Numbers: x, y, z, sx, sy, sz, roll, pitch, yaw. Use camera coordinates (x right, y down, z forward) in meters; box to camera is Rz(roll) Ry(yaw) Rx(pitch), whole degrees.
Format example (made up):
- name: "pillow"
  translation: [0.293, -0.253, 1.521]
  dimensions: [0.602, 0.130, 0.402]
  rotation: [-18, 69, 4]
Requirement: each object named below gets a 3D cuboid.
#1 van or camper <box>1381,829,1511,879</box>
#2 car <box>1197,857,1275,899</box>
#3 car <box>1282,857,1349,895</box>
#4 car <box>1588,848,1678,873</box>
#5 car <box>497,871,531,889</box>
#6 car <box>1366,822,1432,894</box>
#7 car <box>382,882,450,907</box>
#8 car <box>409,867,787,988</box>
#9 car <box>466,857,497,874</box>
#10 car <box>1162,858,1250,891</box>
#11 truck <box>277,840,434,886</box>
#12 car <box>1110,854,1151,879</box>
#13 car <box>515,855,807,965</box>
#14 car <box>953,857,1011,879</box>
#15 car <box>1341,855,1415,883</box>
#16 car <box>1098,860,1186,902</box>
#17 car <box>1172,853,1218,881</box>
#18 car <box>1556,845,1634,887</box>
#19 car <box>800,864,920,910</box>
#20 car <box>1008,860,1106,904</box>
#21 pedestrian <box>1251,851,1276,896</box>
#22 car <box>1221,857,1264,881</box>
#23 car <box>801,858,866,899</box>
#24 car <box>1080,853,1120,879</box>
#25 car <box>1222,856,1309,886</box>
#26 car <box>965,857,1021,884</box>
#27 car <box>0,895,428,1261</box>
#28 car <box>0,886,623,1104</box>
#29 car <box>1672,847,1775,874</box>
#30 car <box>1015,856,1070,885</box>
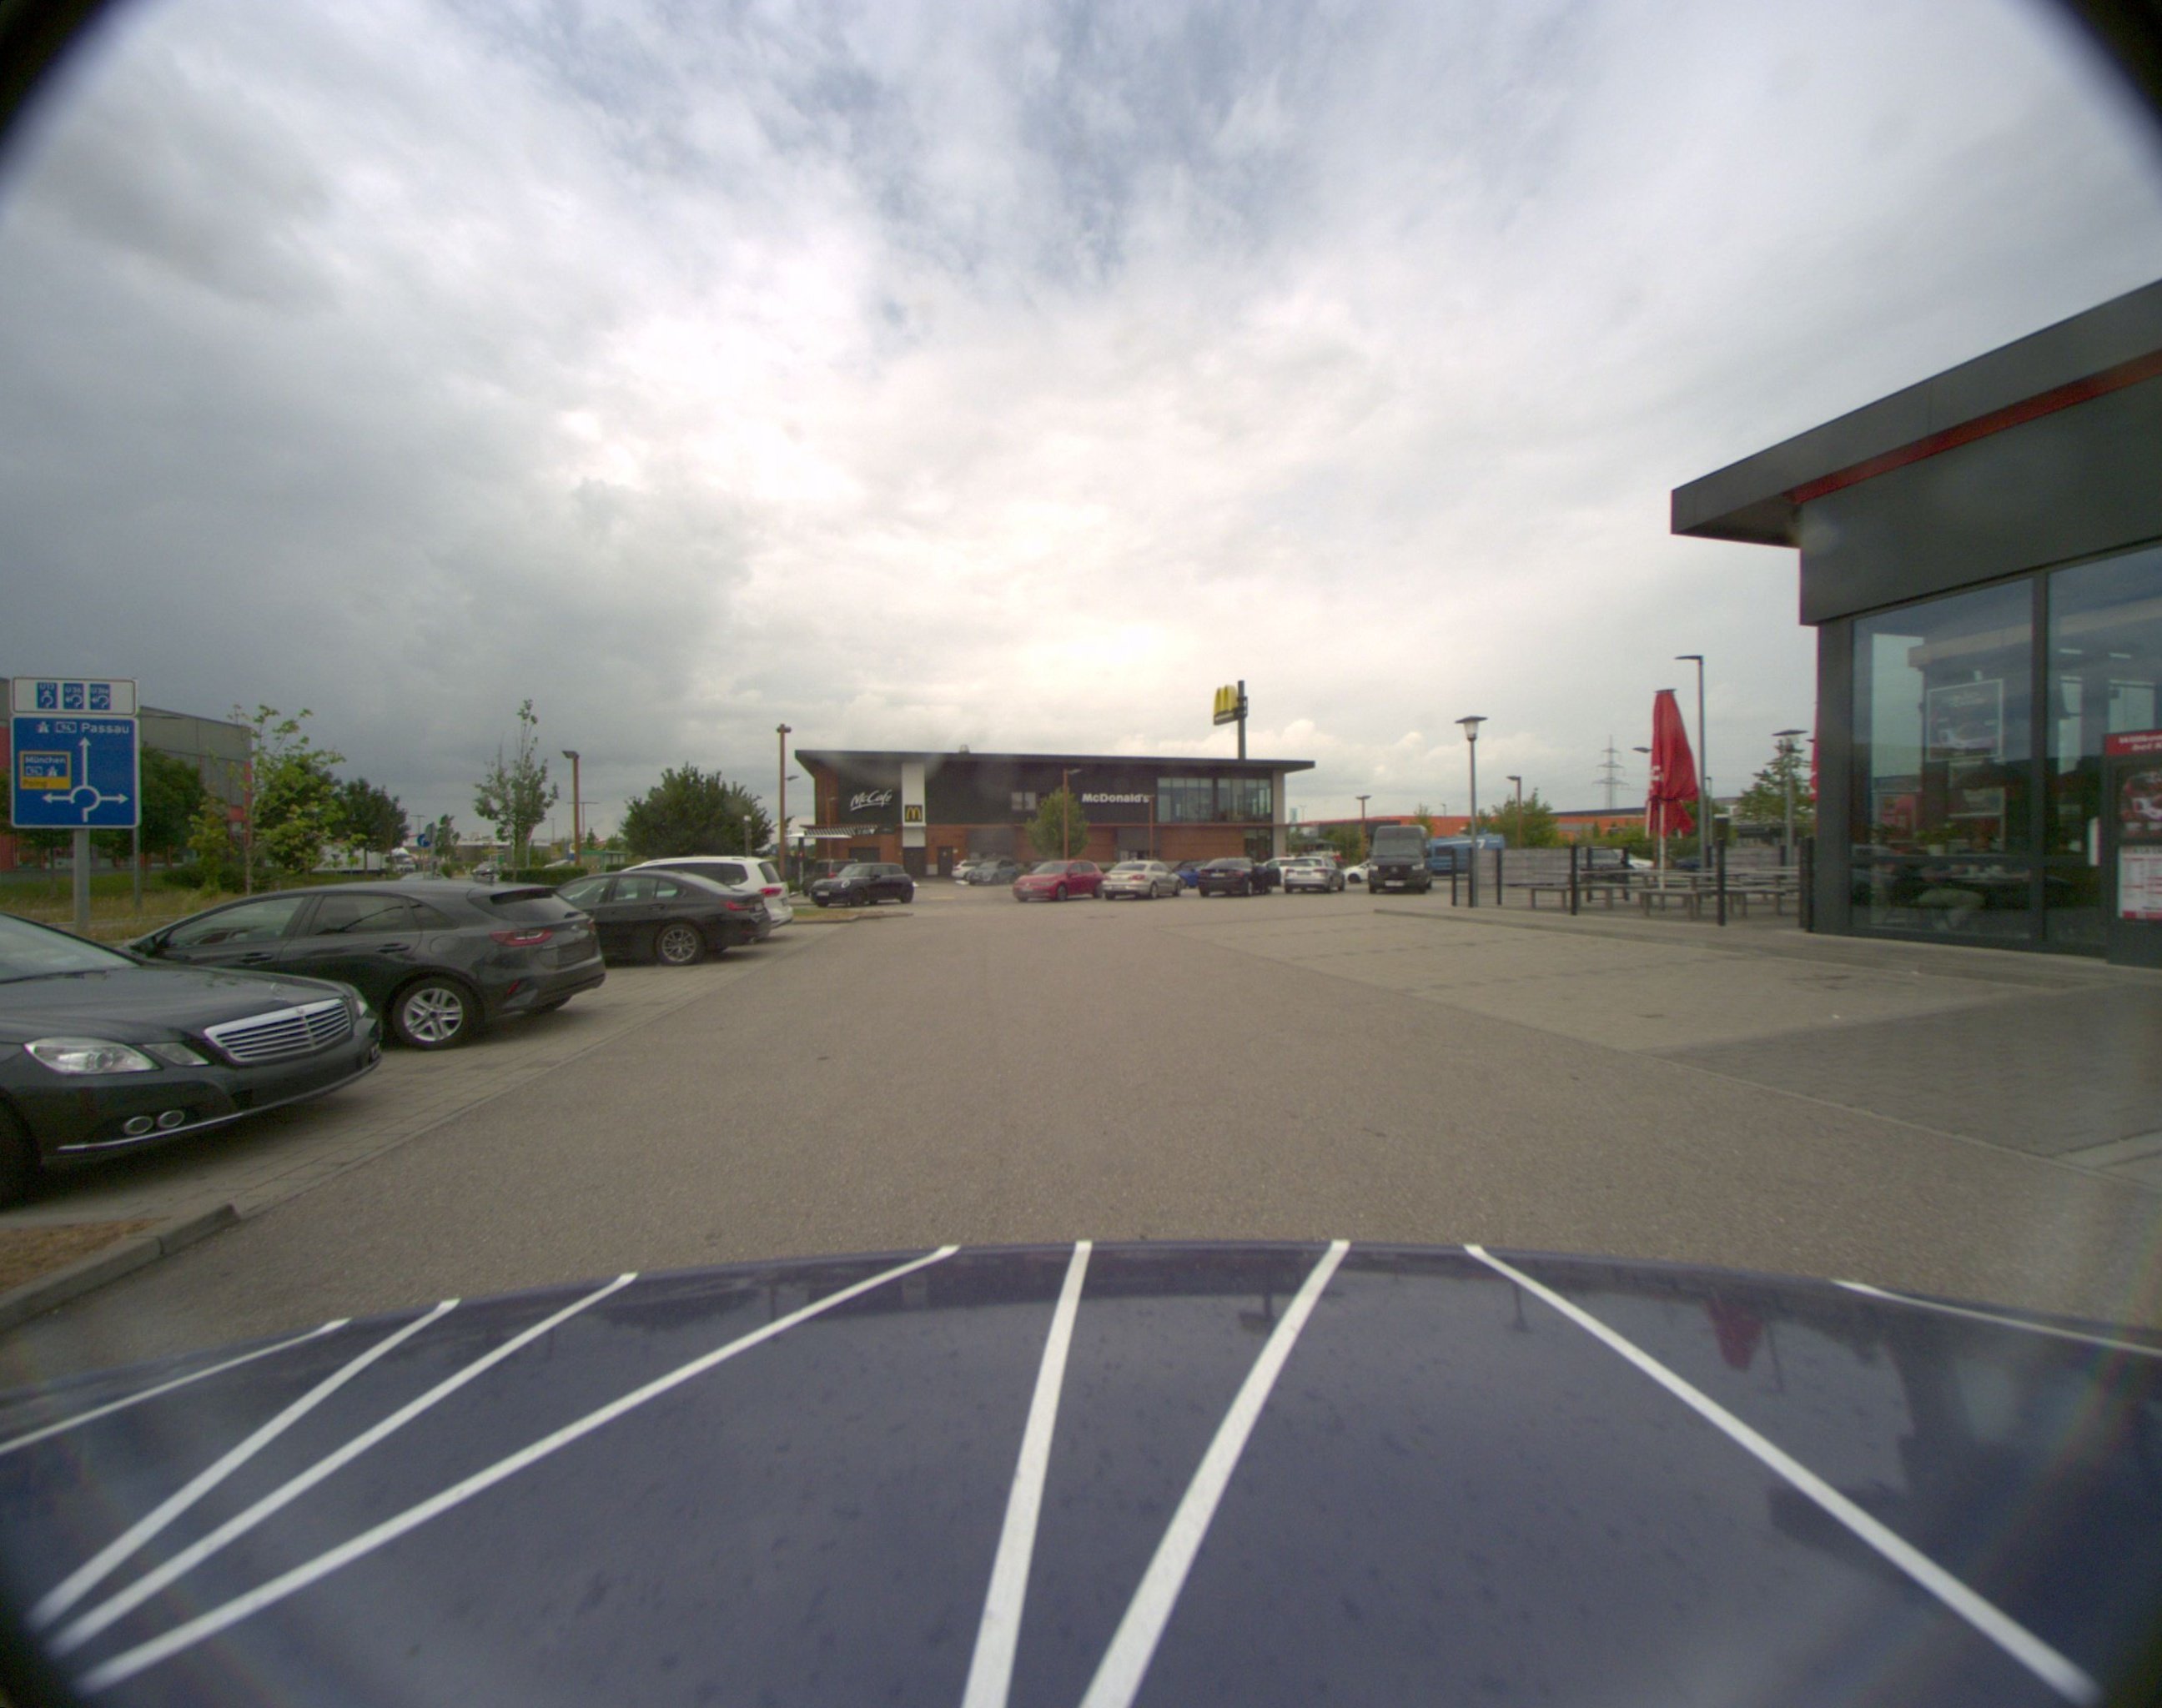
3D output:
- name: "van or camper"
  translation: [21.290, 0.070, 44.493]
  dimensions: [6.556, 2.684, 2.177]
  rotation: [-2, -1, 34]
- name: "car"
  translation: [5.964, 0.875, 28.806]
  dimensions: [1.683, 1.454, 4.416]
  rotation: [-1, -1, 28]
- name: "car"
  translation: [9.440, 0.846, 30.419]
  dimensions: [1.683, 1.443, 4.008]
  rotation: [-1, -1, 30]
- name: "car"
  translation: [36.247, 0.419, 50.011]
  dimensions: [2.074, 1.544, 4.472]
  rotation: [-1, 0, -16]
- name: "car"
  translation: [-48.953, 2.221, 65.627]
  dimensions: [1.758, 1.482, 4.121]
  rotation: [0, -1, -28]
- name: "car"
  translation: [12.840, 0.176, 30.354]
  dimensions: [2.068, 2.538, 7.026]
  rotation: [-1, -1, 25]
- name: "car"
  translation: [-42.954, 2.593, 49.223]
  dimensions: [1.756, 1.482, 4.125]
  rotation: [0, -1, -17]
- name: "car"
  translation: [-7.216, 1.039, 11.877]
  dimensions: [4.516, 1.458, 1.946]
  rotation: [-2, 0, -10]
- name: "car"
  translation: [-64.269, 1.171, 81.475]
  dimensions: [3.988, 1.696, 2.004]
  rotation: [2, 1, 43]
- name: "car"
  translation: [6.271, 1.004, 38.313]
  dimensions: [3.989, 1.501, 1.773]
  rotation: [1, 0, 30]
- name: "truck"
  translation: [-74.226, 0.905, 77.990]
  dimensions: [11.993, 4.472, 3.765]
  rotation: [1, 0, -4]
- name: "car"
  translation: [3.562, 0.879, 55.313]
  dimensions: [1.754, 1.743, 3.994]
  rotation: [1, 0, -16]
- name: "car"
  translation: [-7.696, 0.964, 14.401]
  dimensions: [4.373, 1.703, 1.990]
  rotation: [-2, 0, -10]
- name: "car"
  translation: [-7.301, 1.037, 55.715]
  dimensions: [4.002, 1.497, 1.786]
  rotation: [1, 0, -15]
- name: "car"
  translation: [16.290, 0.820, 41.691]
  dimensions: [3.564, 1.445, 1.846]
  rotation: [-1, -1, 28]
- name: "car"
  translation: [2.337, 0.946, 27.879]
  dimensions: [1.749, 1.403, 4.468]
  rotation: [-1, -1, 25]
- name: "car"
  translation: [7.799, 0.863, 51.742]
  dimensions: [1.893, 1.653, 4.265]
  rotation: [1, 3, 26]
- name: "car"
  translation: [22.823, 0.512, 33.943]
  dimensions: [1.995, 1.718, 4.905]
  rotation: [0, 0, 23]
- name: "car"
  translation: [-7.334, 1.050, 25.606]
  dimensions: [1.683, 1.403, 3.938]
  rotation: [-1, -1, 25]
- name: "car"
  translation: [-0.776, 0.954, 27.415]
  dimensions: [1.683, 1.455, 4.008]
  rotation: [-1, -1, 30]
- name: "pedestrian"
  translation: [6.859, 0.734, 28.566]
  dimensions: [0.747, 1.668, 0.844]
  rotation: [0, 1, 27]
- name: "car"
  translation: [11.383, 1.023, 53.236]
  dimensions: [1.785, 1.478, 4.007]
  rotation: [1, 3, 30]
- name: "car"
  translation: [-11.124, 1.033, 33.931]
  dimensions: [1.814, 1.680, 4.180]
  rotation: [1, 0, -32]
- name: "car"
  translation: [1.339, 0.848, 54.725]
  dimensions: [1.754, 1.743, 3.994]
  rotation: [1, 0, -16]
- name: "car"
  translation: [9.585, 0.908, 39.480]
  dimensions: [4.101, 1.458, 1.784]
  rotation: [-1, -2, 26]
- name: "car"
  translation: [-5.551, 1.010, 48.369]
  dimensions: [1.746, 1.575, 3.912]
  rotation: [1, 0, 26]
- name: "car"
  translation: [-6.729, 1.103, 3.938]
  dimensions: [4.741, 1.448, 1.910]
  rotation: [-2, 1, -7]
- name: "car"
  translation: [-6.837, 1.131, 6.946]
  dimensions: [4.071, 1.404, 1.887]
  rotation: [-2, 0, -10]
- name: "car"
  translation: [37.757, 0.365, 44.819]
  dimensions: [1.834, 1.450, 4.451]
  rotation: [-1, 1, -12]
- name: "car"
  translation: [-2.385, 1.039, 48.693]
  dimensions: [1.995, 1.739, 4.007]
  rotation: [1, -1, 22]
